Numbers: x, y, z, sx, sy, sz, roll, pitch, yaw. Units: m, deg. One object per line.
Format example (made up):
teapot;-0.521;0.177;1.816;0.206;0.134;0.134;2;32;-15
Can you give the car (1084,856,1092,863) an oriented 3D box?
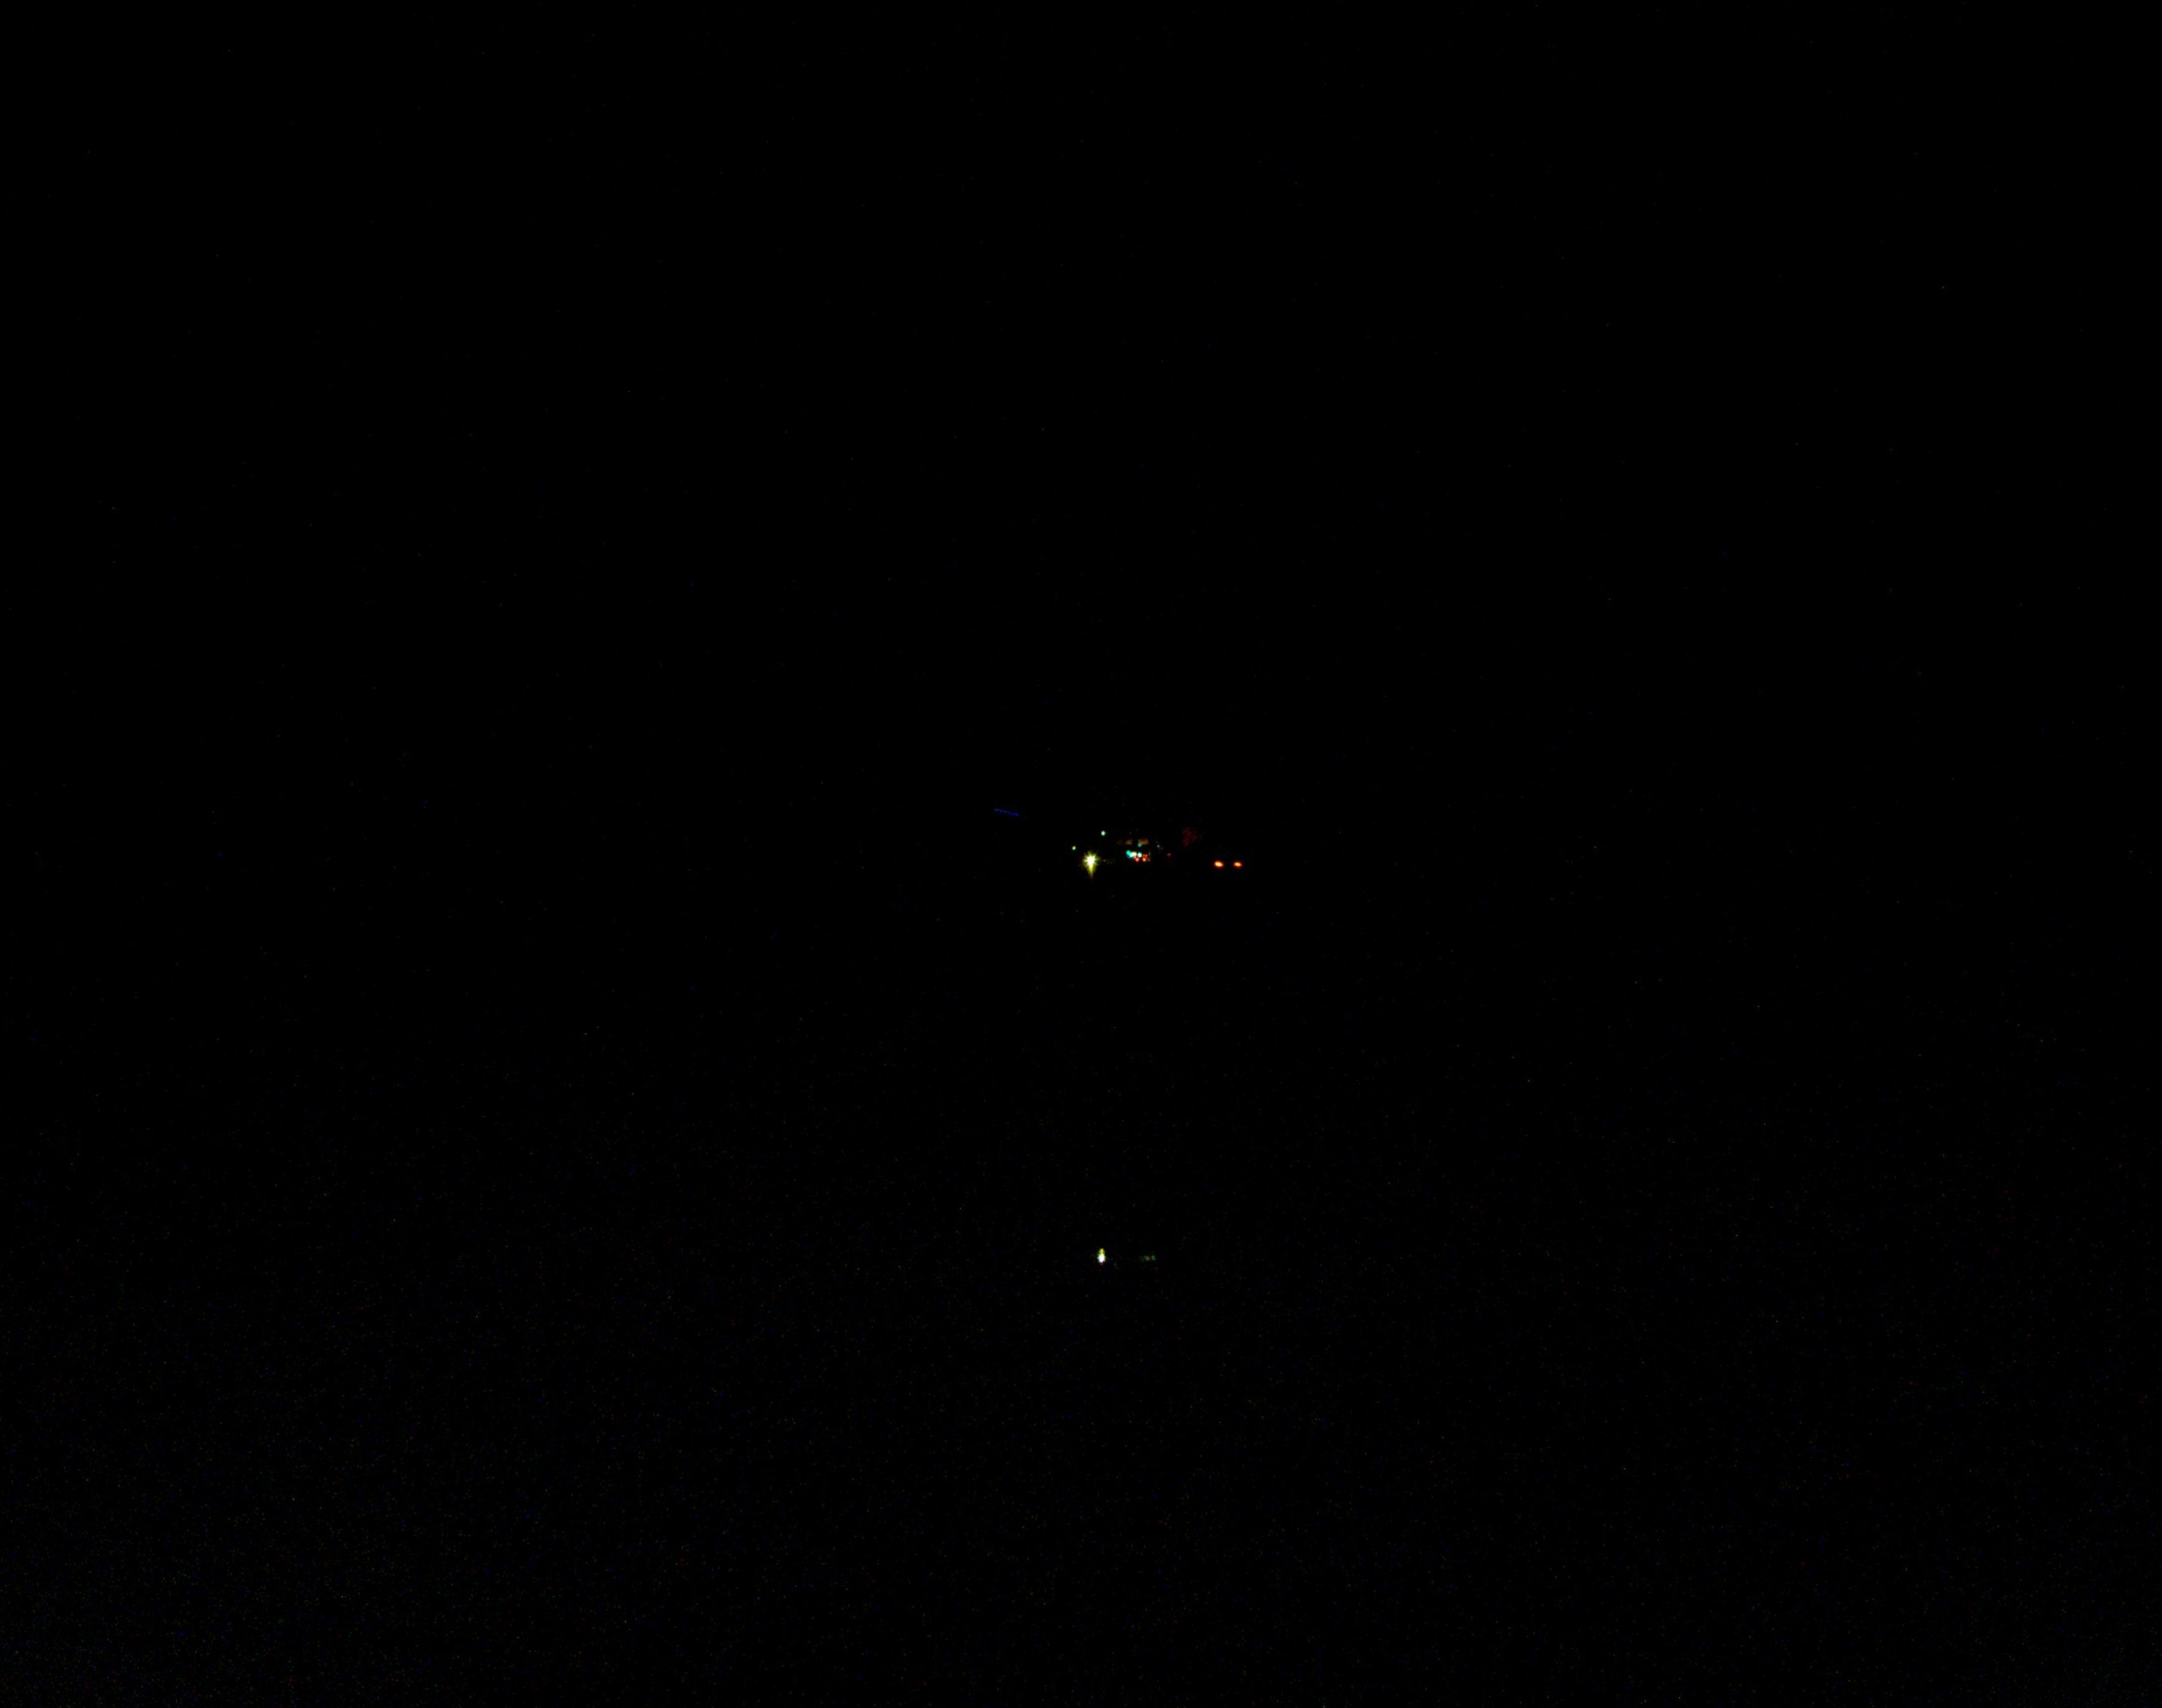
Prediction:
car;1.398;1.102;152.991;1.570;1.336;4.166;-2;0;0

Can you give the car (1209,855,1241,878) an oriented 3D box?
car;10.461;0.895;55.339;1.621;1.498;3.868;-2;1;0

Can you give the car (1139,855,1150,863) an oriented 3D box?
car;12.345;0.971;147.293;1.687;1.578;4.166;-2;0;0
